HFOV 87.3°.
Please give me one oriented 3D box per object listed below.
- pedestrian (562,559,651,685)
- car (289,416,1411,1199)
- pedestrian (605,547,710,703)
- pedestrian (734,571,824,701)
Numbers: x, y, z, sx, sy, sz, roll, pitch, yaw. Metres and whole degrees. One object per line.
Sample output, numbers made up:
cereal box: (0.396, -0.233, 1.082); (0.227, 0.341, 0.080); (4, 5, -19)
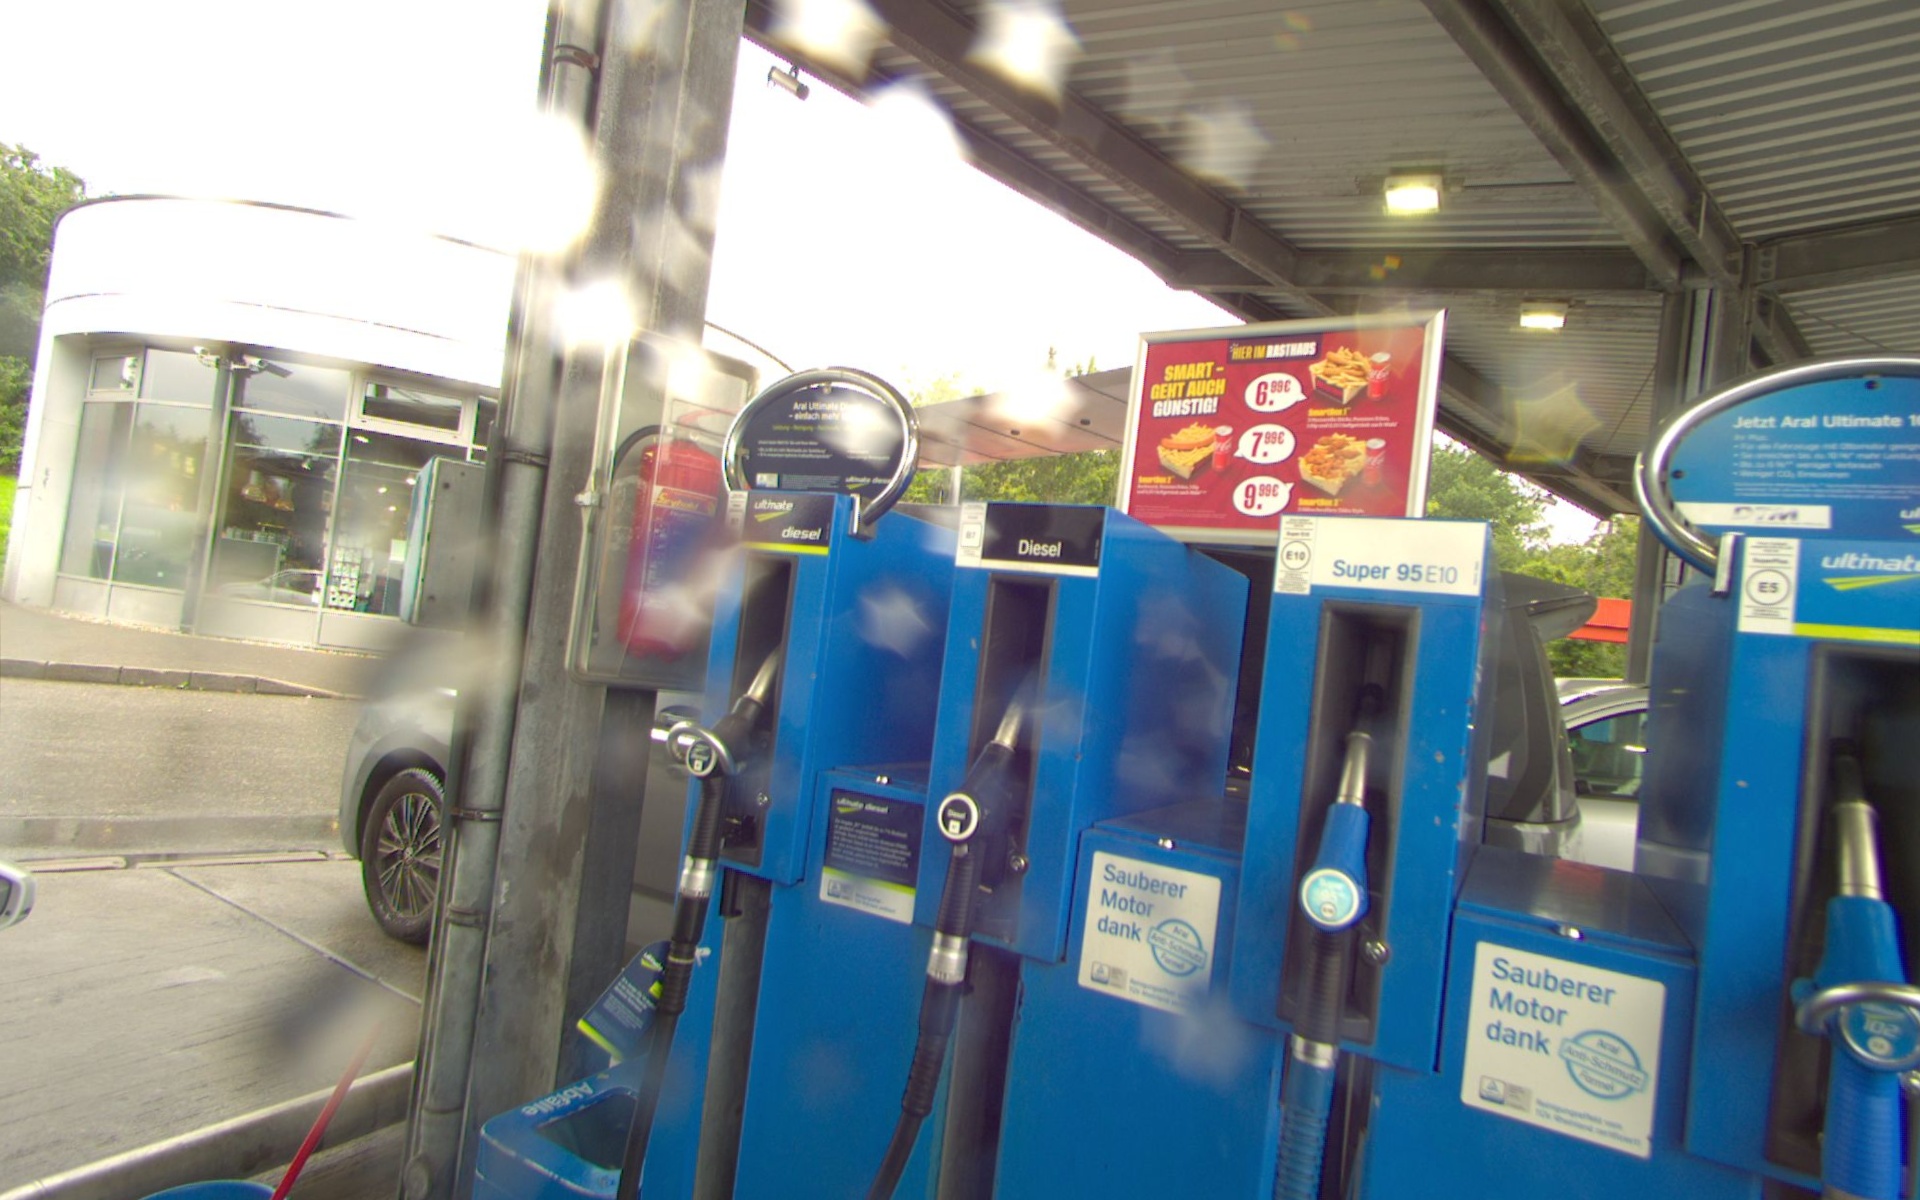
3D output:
pedestrian: (-4.753, 0.289, 13.516); (0.882, 1.569, 0.655); (7, 0, -29)
car: (-0.579, 0.489, 3.979); (3.934, 1.971, 1.819); (7, -1, 32)
pedestrian: (-3.926, 0.320, 13.043); (0.965, 1.871, 0.767); (7, 0, -30)
pedestrian: (-2.833, 0.556, 15.729); (0.990, 1.887, 0.793); (7, 0, -30)
